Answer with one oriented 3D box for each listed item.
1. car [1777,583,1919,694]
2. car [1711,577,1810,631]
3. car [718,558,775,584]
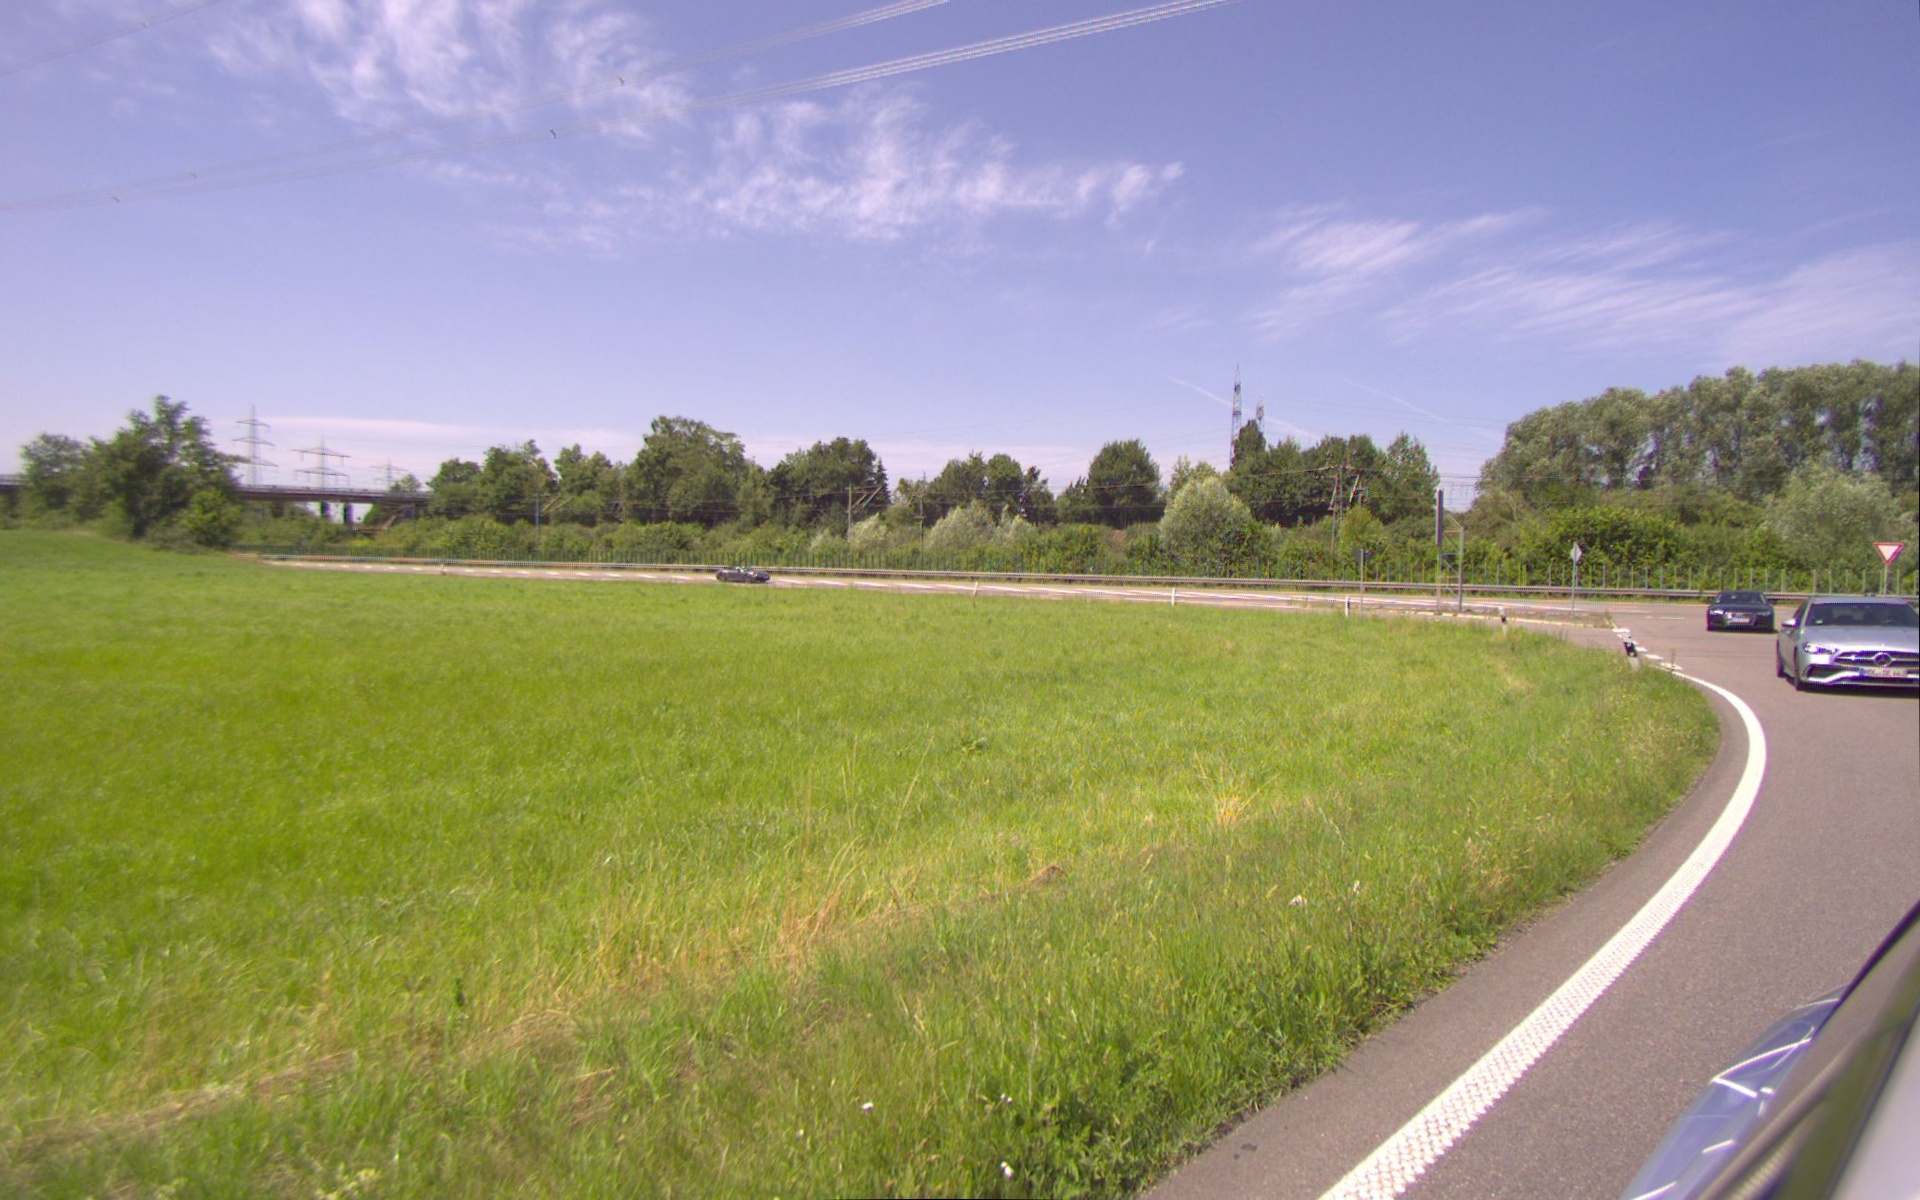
[{"bbox_3d":[14.405,0.512,16.085,1.813,1.505,4.099,1,2,34],"label":"car"},{"bbox_3d":[27.146,0.086,34.282,4.077,1.456,1.824,-4,6,-40],"label":"car"},{"bbox_3d":[-15.512,-2.106,73.602,3.968,1.745,1.706,3,3,31],"label":"car"}]
